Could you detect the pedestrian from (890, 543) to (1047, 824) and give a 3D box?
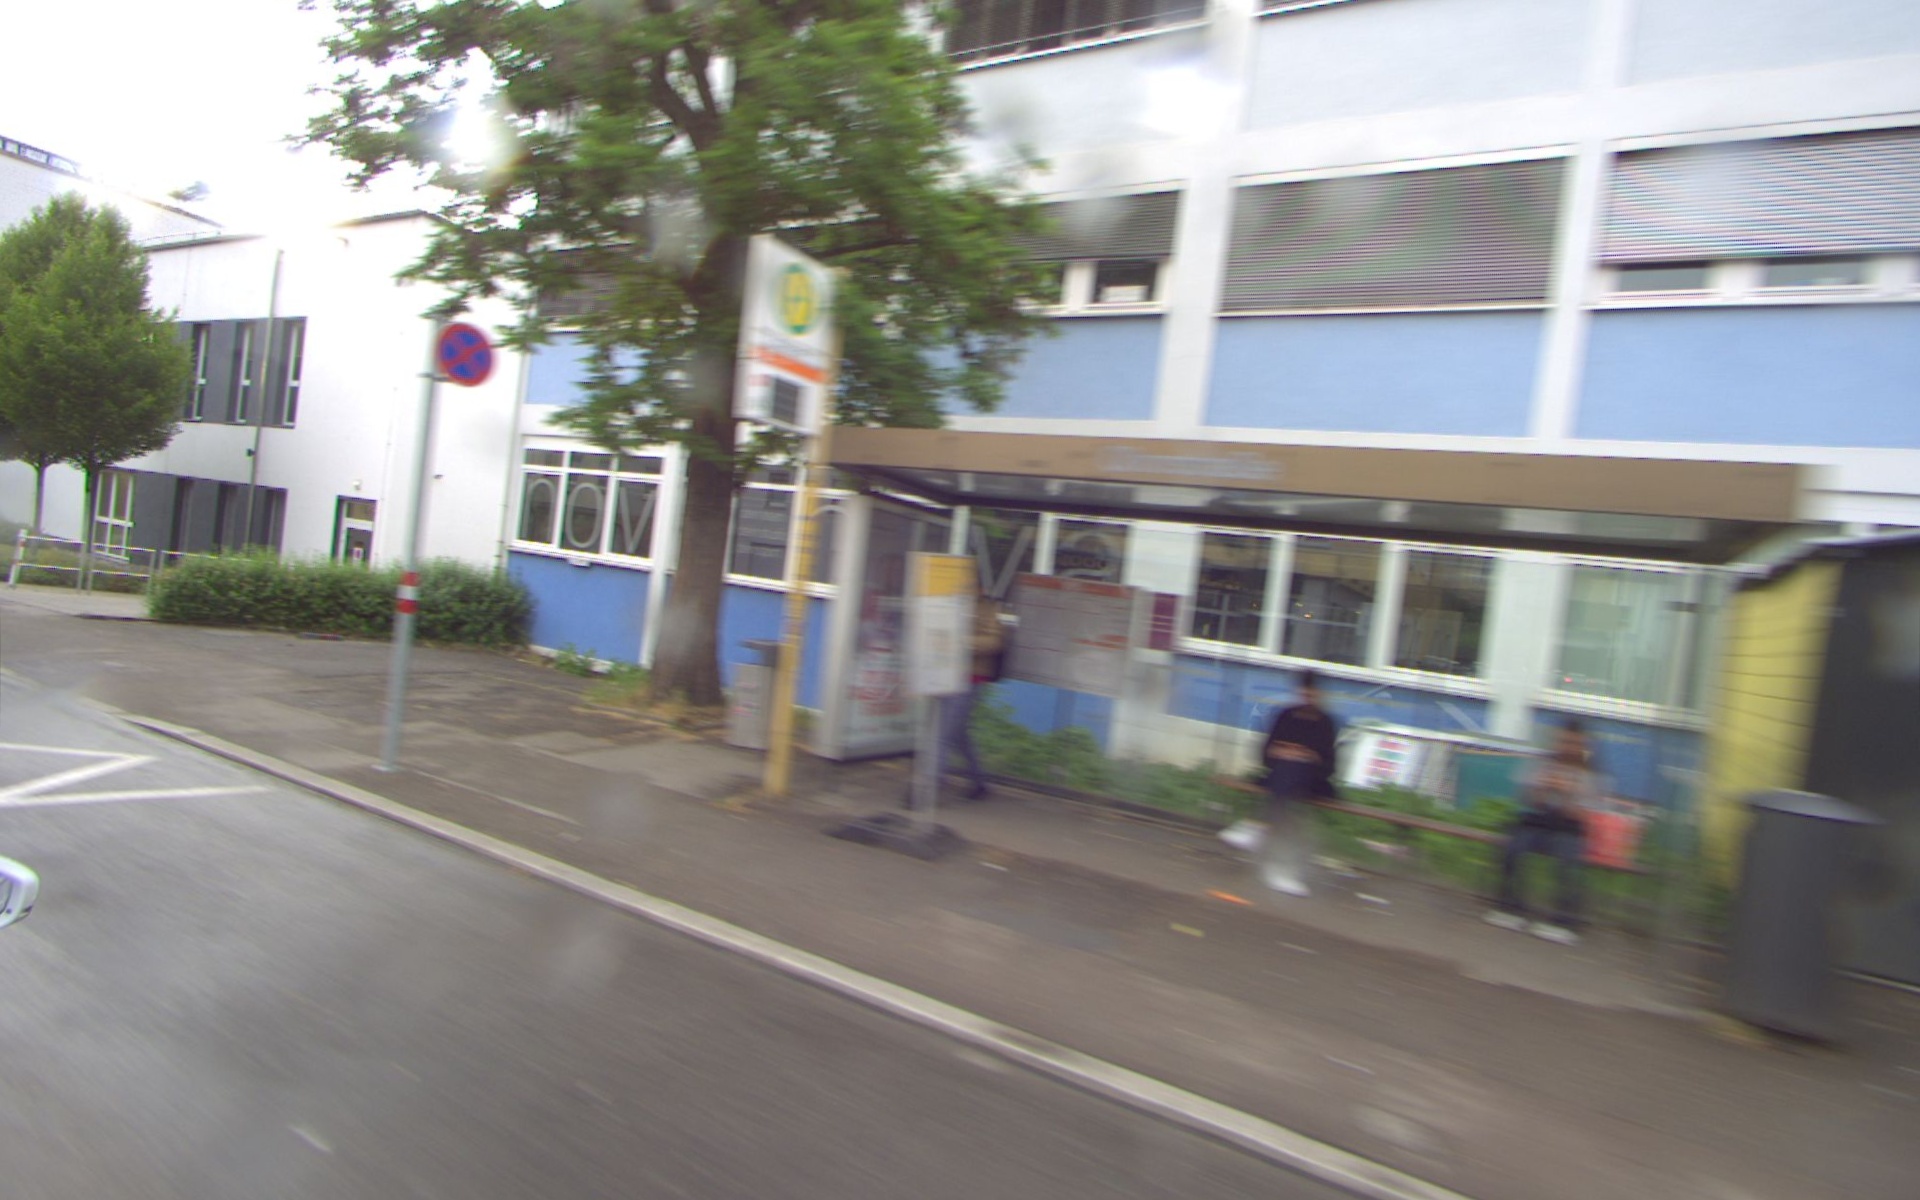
[{"bbox_3d":[0.069,0.571,7.252,0.729,1.855,0.647,7,2,30],"label":"pedestrian"}]

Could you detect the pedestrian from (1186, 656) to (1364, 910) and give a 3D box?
[{"bbox_3d":[1.992,1.042,6.244,0.728,1.290,1.357,7,2,26],"label":"pedestrian"}]

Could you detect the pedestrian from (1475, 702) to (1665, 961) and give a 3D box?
[{"bbox_3d":[3.384,1.244,5.652,0.728,1.214,0.661,7,2,26],"label":"pedestrian"}]
